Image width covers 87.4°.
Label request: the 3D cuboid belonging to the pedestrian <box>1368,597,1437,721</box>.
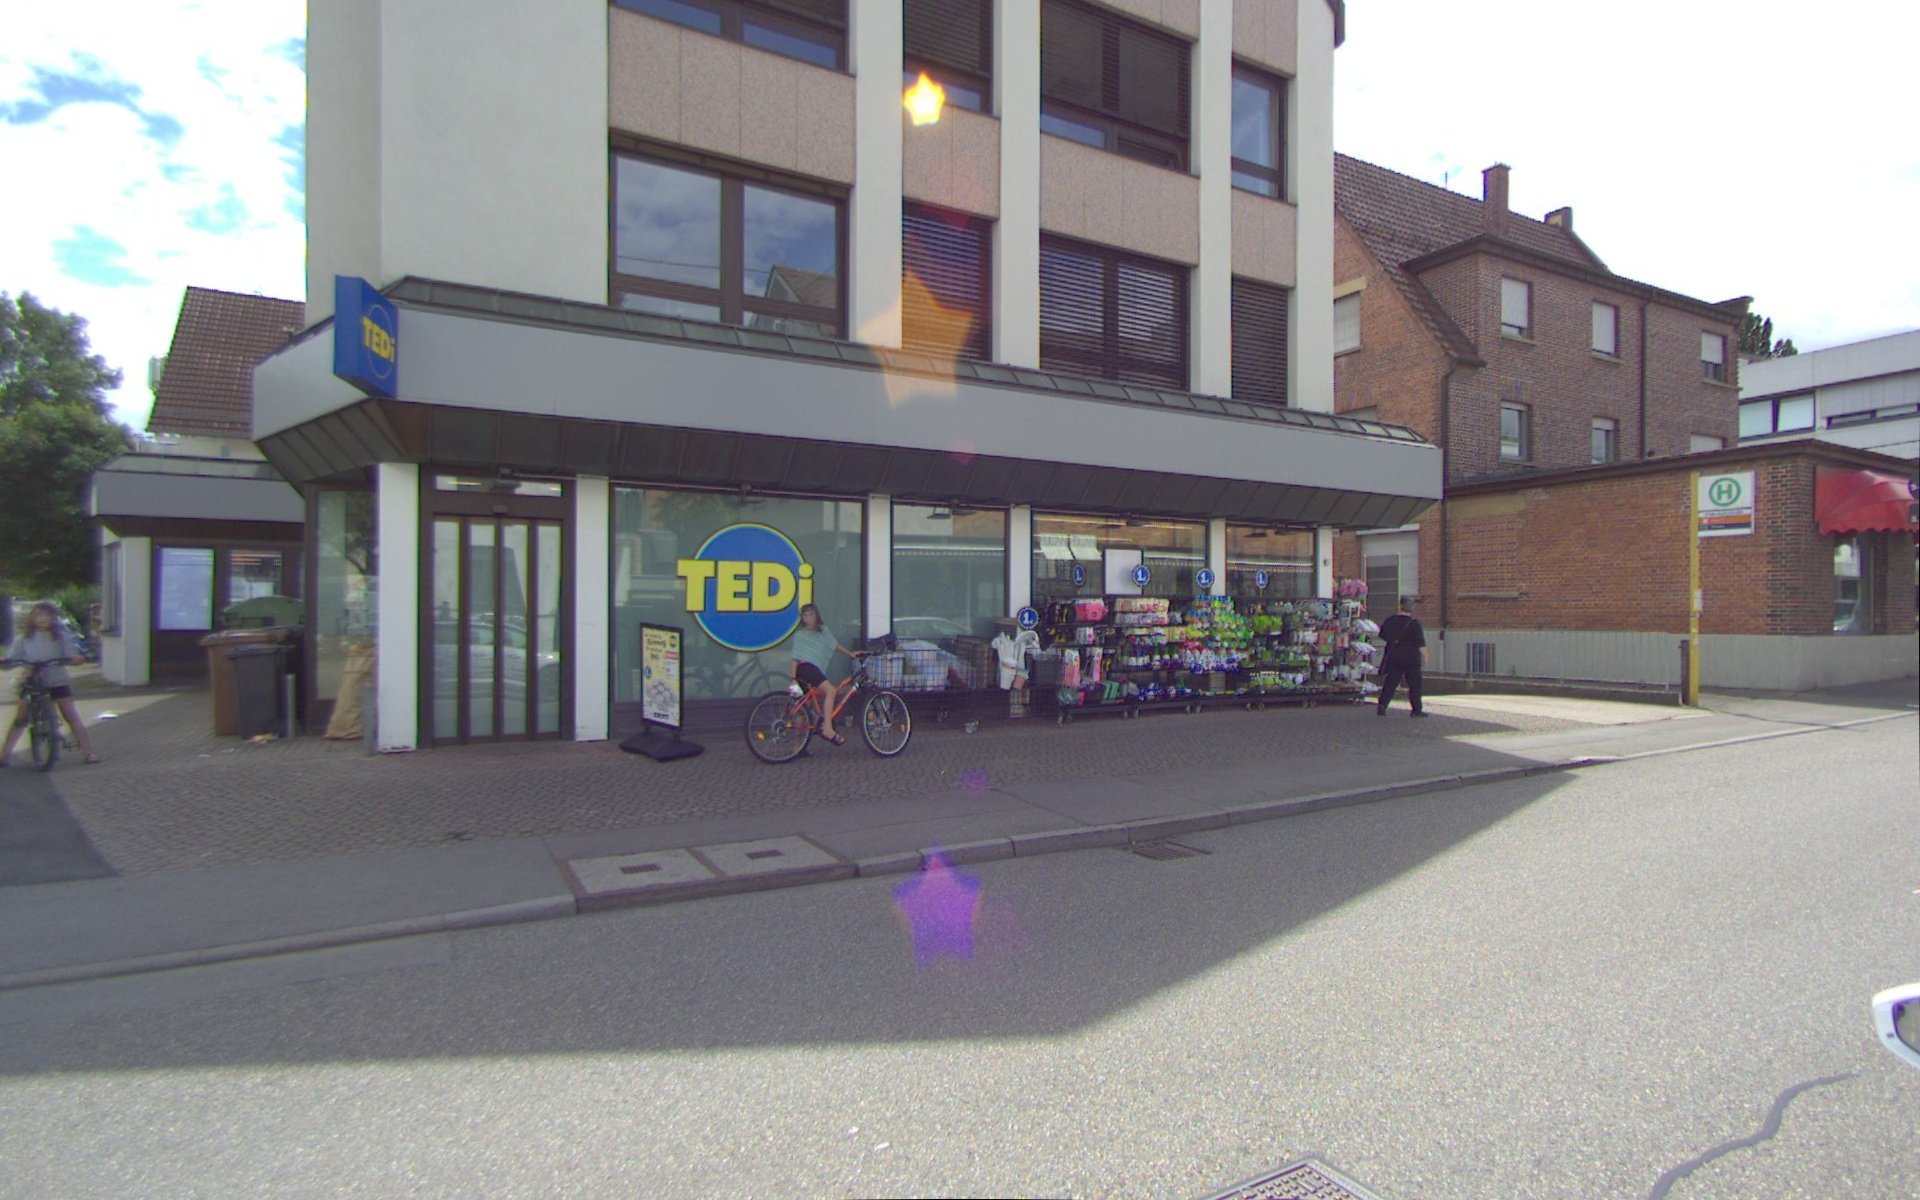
[{"bbox_3d":[5.878,0.774,13.377,0.757,1.579,0.574,2,0,20],"label":"pedestrian"}]

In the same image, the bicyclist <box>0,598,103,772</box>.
[{"bbox_3d":[-7.627,0.683,8.395,0.418,1.384,0.587,-1,1,35],"label":"bicyclist"}]

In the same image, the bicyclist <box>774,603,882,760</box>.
[{"bbox_3d":[-1.230,0.729,9.291,0.753,1.355,0.664,1,2,-30],"label":"bicyclist"}]

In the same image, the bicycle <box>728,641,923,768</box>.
[{"bbox_3d":[-1.218,0.930,9.264,1.714,1.064,0.441,2,2,-30],"label":"bicycle"}]

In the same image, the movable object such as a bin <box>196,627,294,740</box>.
[{"bbox_3d":[-7.469,0.850,10.527,0.729,1.080,0.680,-2,1,-30],"label":"movable object such as a bin"}]

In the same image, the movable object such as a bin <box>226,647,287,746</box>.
[{"bbox_3d":[-7.021,0.950,10.041,0.438,0.923,0.405,-2,1,-30],"label":"movable object such as a bin"}]

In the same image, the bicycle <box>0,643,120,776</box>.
[{"bbox_3d":[-7.696,0.875,8.450,1.663,0.967,0.553,0,0,35],"label":"bicycle"}]
